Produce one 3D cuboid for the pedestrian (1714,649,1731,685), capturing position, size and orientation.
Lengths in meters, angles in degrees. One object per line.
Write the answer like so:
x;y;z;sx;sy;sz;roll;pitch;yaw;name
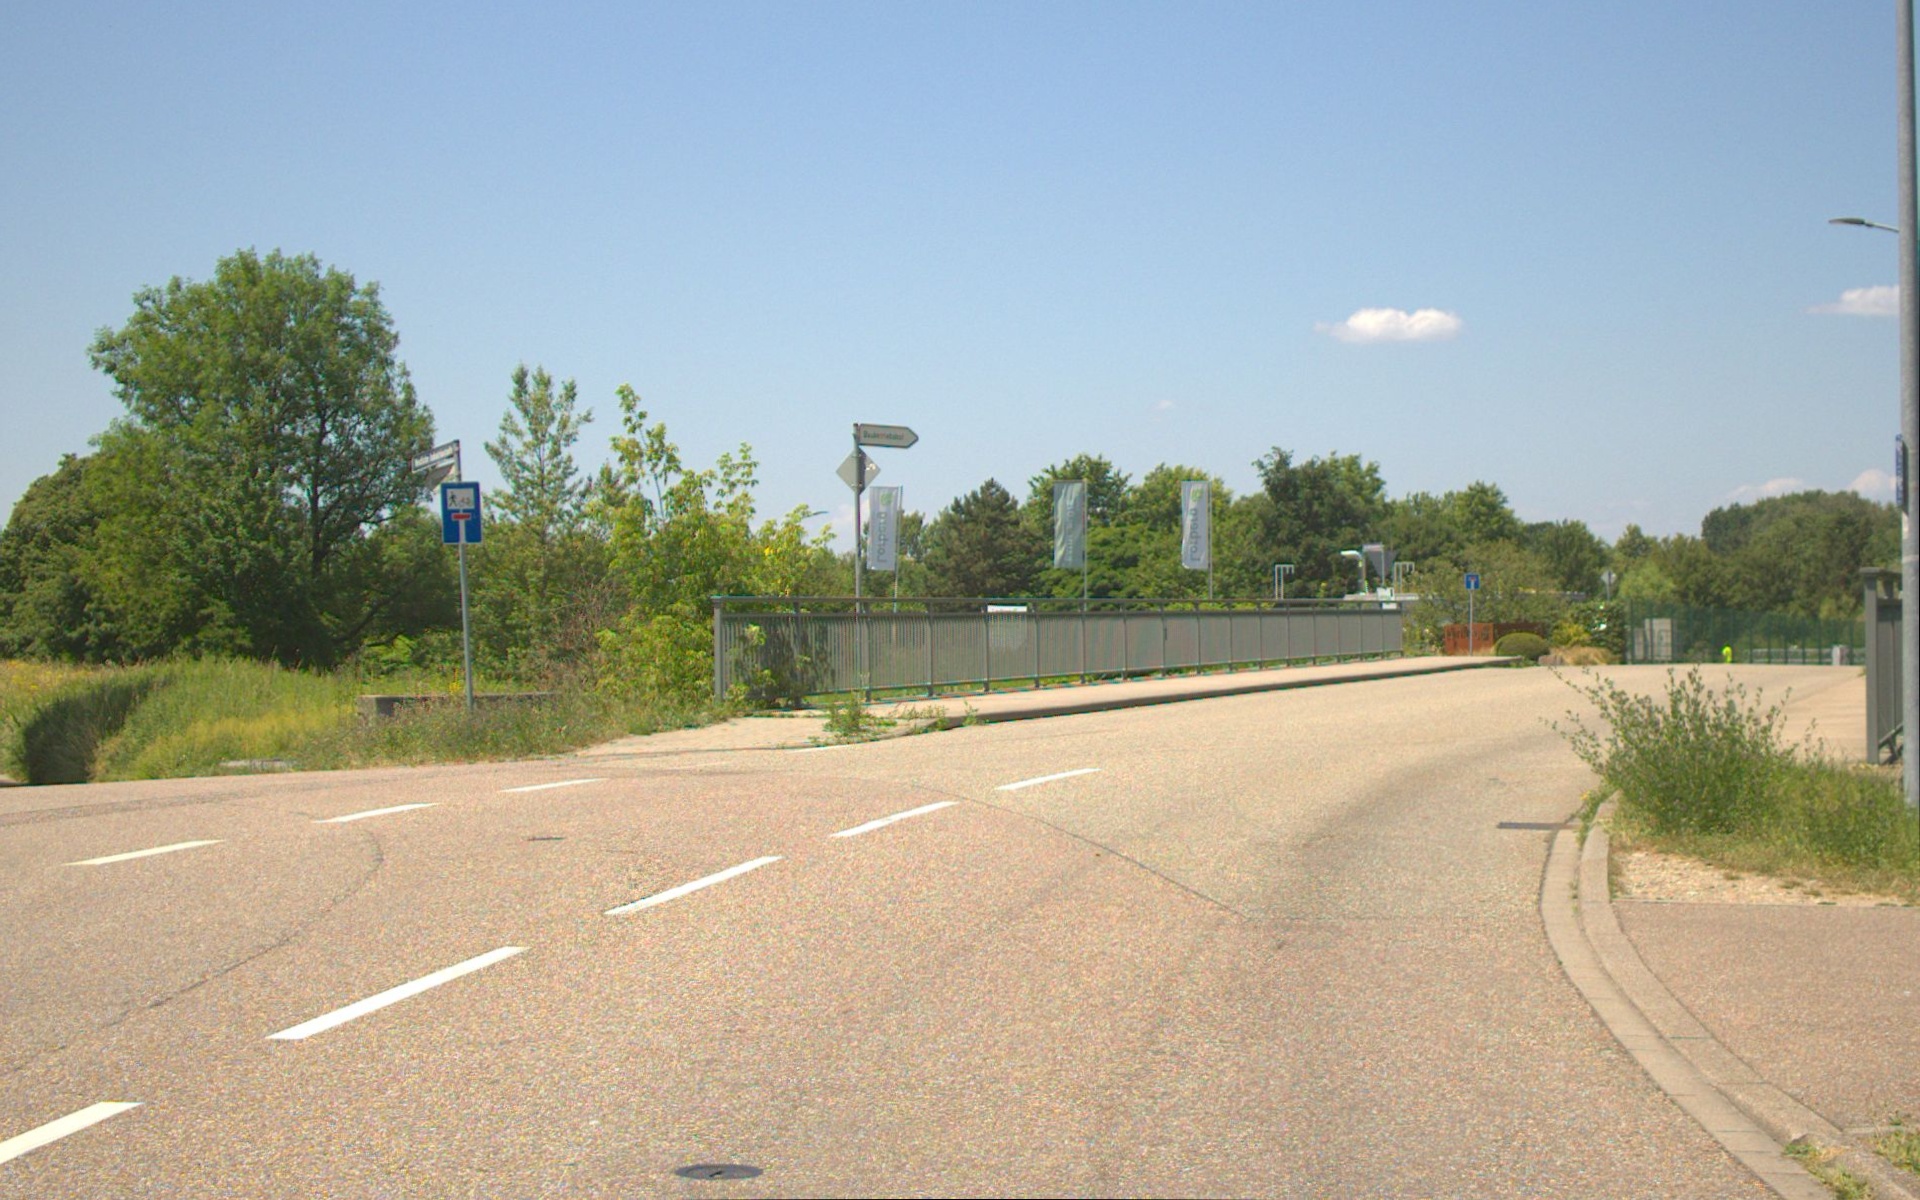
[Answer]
38.805;3.406;174.957;0.606;1.833;0.803;-2;-2;26;pedestrian
